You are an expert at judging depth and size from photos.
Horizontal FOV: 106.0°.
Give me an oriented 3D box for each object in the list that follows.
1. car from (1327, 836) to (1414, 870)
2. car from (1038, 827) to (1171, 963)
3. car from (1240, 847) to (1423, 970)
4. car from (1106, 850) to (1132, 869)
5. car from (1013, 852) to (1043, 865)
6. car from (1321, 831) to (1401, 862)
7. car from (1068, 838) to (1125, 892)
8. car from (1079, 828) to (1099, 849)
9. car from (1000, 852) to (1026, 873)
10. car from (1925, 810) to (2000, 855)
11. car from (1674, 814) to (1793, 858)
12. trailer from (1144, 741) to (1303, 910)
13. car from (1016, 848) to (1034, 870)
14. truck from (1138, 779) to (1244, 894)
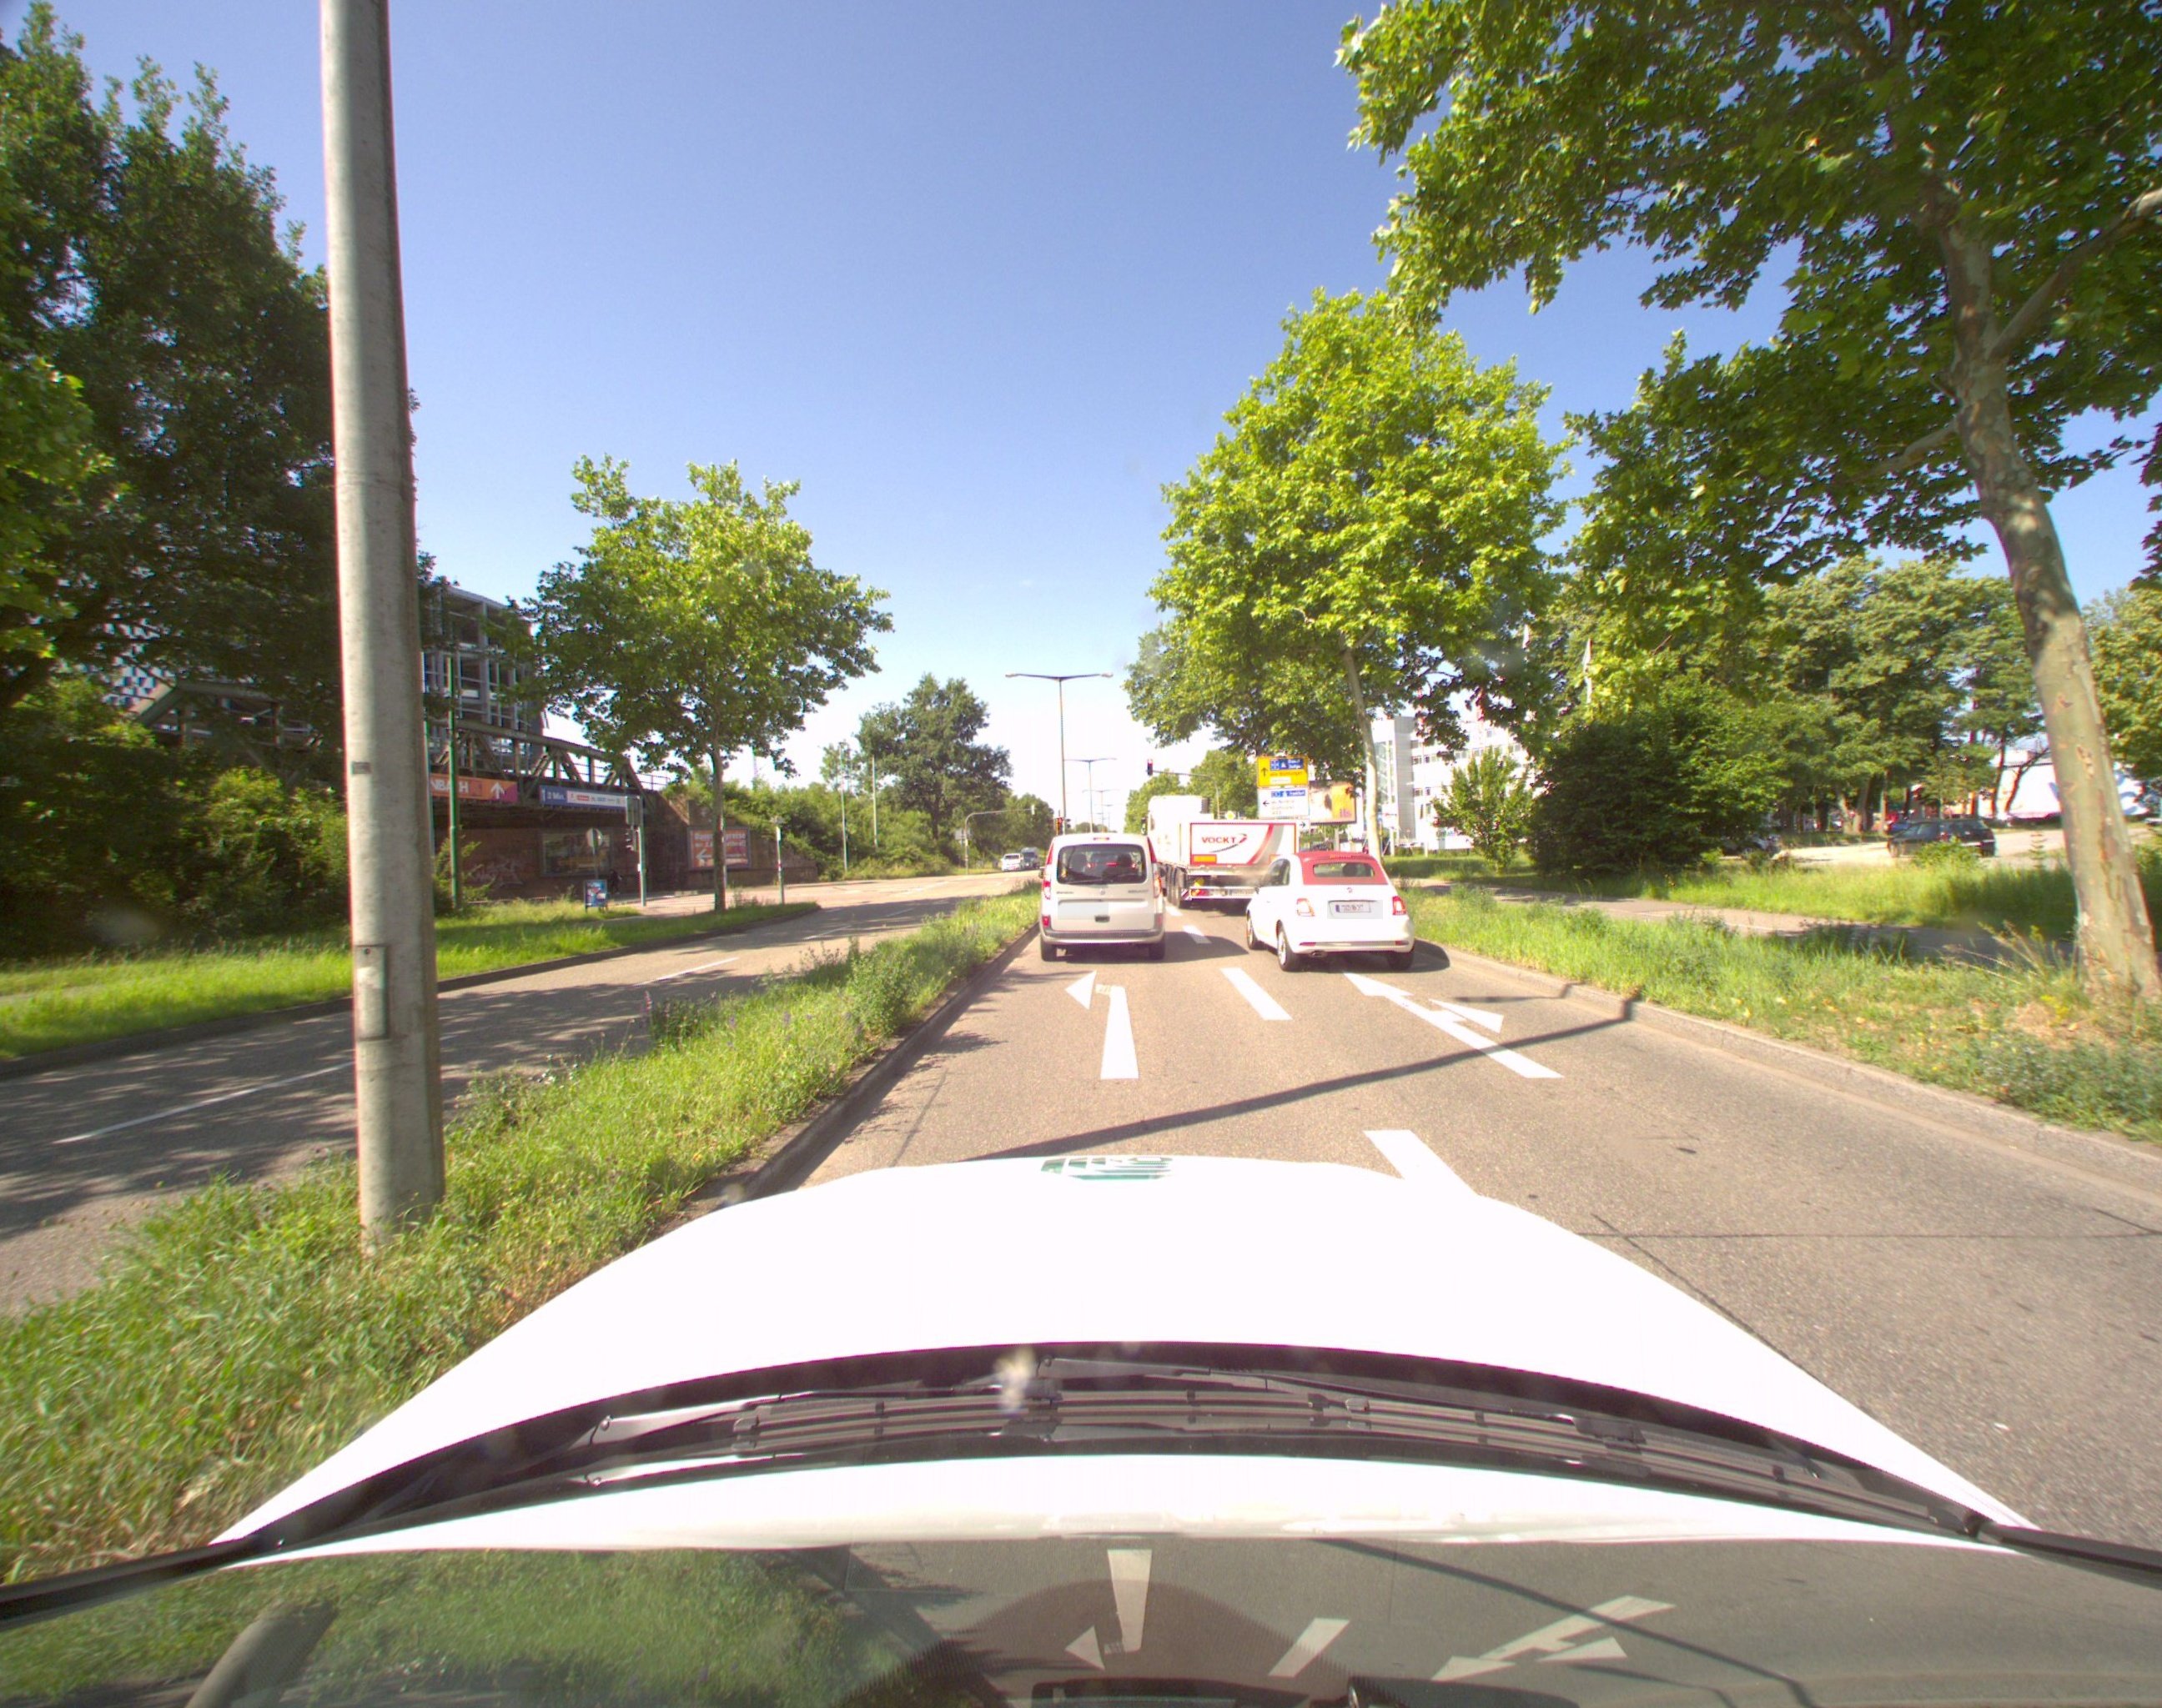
[{"bbox_3d":[14.990,-0.064,42.337,3.965,1.662,1.726,-1,0,7],"label":"car"},{"bbox_3d":[0.366,0.555,12.825,1.743,1.772,3.950,-1,0,1],"label":"car"},{"bbox_3d":[3.317,0.654,11.445,1.654,1.436,3.523,-1,0,3],"label":"car"},{"bbox_3d":[3.472,0.487,74.894,1.989,1.640,3.995,-1,0,-4],"label":"car"},{"bbox_3d":[-5.980,0.502,90.920,1.920,1.409,4.192,-1,0,-25],"label":"car"},{"bbox_3d":[15.785,-0.400,46.028,3.965,1.662,1.726,-1,0,7],"label":"car"},{"bbox_3d":[0.492,0.367,28.079,1.804,1.684,3.999,-1,0,0],"label":"car"},{"bbox_3d":[0.757,-1.519,80.809,1.710,2.014,3.995,-1,0,-4],"label":"car"},{"bbox_3d":[-6.855,0.832,82.904,1.987,1.891,4.988,-4,0,1],"label":"car"},{"bbox_3d":[32.320,-0.769,29.897,3.746,1.515,1.755,-1,0,-43],"label":"car"},{"bbox_3d":[27.388,-0.722,34.224,1.778,1.716,3.703,-1,-1,-45],"label":"car"},{"bbox_3d":[3.659,-0.612,24.359,3.004,3.740,12.246,-1,0,2],"label":"trailer"},{"bbox_3d":[-6.737,0.602,98.296,2.055,2.614,5.860,-1,0,-4],"label":"car"},{"bbox_3d":[3.892,-0.558,30.614,3.061,3.758,7.477,-1,0,1],"label":"truck"}]
